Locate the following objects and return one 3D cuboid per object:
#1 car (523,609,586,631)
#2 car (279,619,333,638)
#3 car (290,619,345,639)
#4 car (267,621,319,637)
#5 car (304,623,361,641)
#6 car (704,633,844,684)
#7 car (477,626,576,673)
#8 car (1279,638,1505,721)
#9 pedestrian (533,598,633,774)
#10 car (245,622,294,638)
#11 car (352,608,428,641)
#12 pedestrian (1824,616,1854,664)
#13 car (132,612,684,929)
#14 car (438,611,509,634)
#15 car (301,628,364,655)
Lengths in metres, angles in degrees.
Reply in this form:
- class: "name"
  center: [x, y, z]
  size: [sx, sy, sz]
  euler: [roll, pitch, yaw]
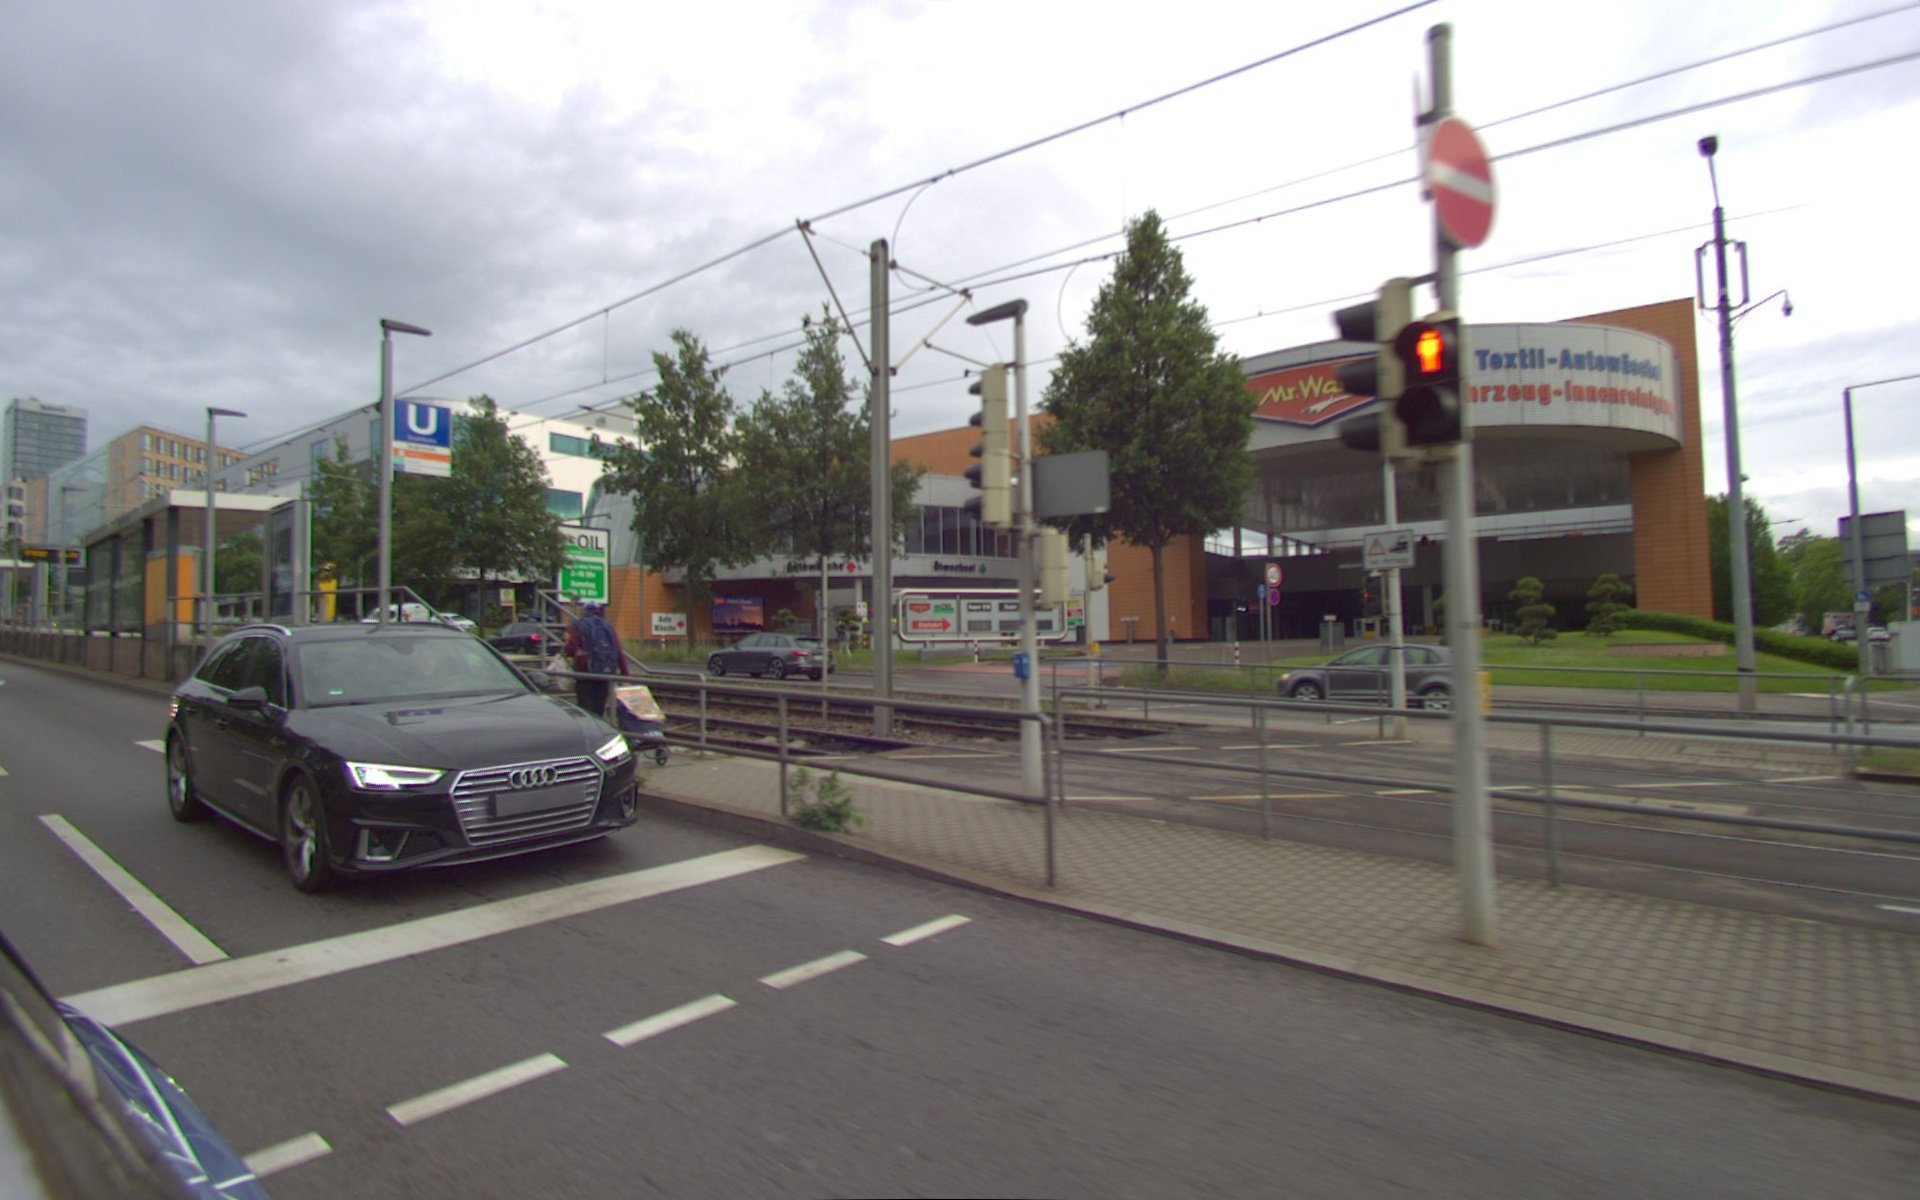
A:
- class: "car"
  center: [-40.051, 1.958, 100.044]
  size: [2.274, 1.940, 5.420]
  euler: [-1, 0, 35]
- class: "car"
  center: [-63.051, 2.735, 97.588]
  size: [1.917, 1.674, 3.954]
  euler: [-1, 1, 34]
- class: "car"
  center: [-60.919, 2.713, 95.978]
  size: [1.917, 1.674, 3.954]
  euler: [-1, 0, 34]
- class: "car"
  center: [-65.432, 2.863, 99.330]
  size: [1.819, 1.502, 3.954]
  euler: [-1, -1, 34]
- class: "car"
  center: [-56.951, 2.866, 91.938]
  size: [1.891, 1.519, 3.956]
  euler: [-1, 0, 33]
- class: "car"
  center: [-5.801, 1.773, 31.276]
  size: [4.384, 1.438, 1.835]
  euler: [-1, -3, 39]
- class: "car"
  center: [-17.412, 1.923, 40.566]
  size: [4.387, 1.788, 1.972]
  euler: [-1, -2, 41]
- class: "car"
  center: [8.472, 1.490, 20.001]
  size: [3.777, 1.434, 1.710]
  euler: [-1, -2, 41]
- class: "pedestrian"
  center: [-3.718, 0.825, 10.019]
  size: [0.643, 1.663, 0.700]
  euler: [-1, -1, 13]
- class: "car"
  center: [-71.859, 3.116, 105.353]
  size: [1.812, 1.502, 3.813]
  euler: [-1, -1, 23]
- class: "car"
  center: [-48.927, 2.066, 87.012]
  size: [2.265, 2.648, 5.441]
  euler: [-1, 0, 23]
- class: "pedestrian"
  center: [37.992, 1.704, 43.750]
  size: [0.775, 2.045, 0.876]
  euler: [-1, -2, 31]
- class: "car"
  center: [-4.029, 0.838, 6.917]
  size: [4.826, 1.445, 1.771]
  euler: [-2, -1, 41]
- class: "car"
  center: [-44.289, 1.994, 92.293]
  size: [2.274, 1.940, 5.420]
  euler: [-1, 0, 35]
- class: "car"
  center: [-39.560, 2.582, 63.736]
  size: [4.703, 1.529, 1.974]
  euler: [-1, 0, 40]
